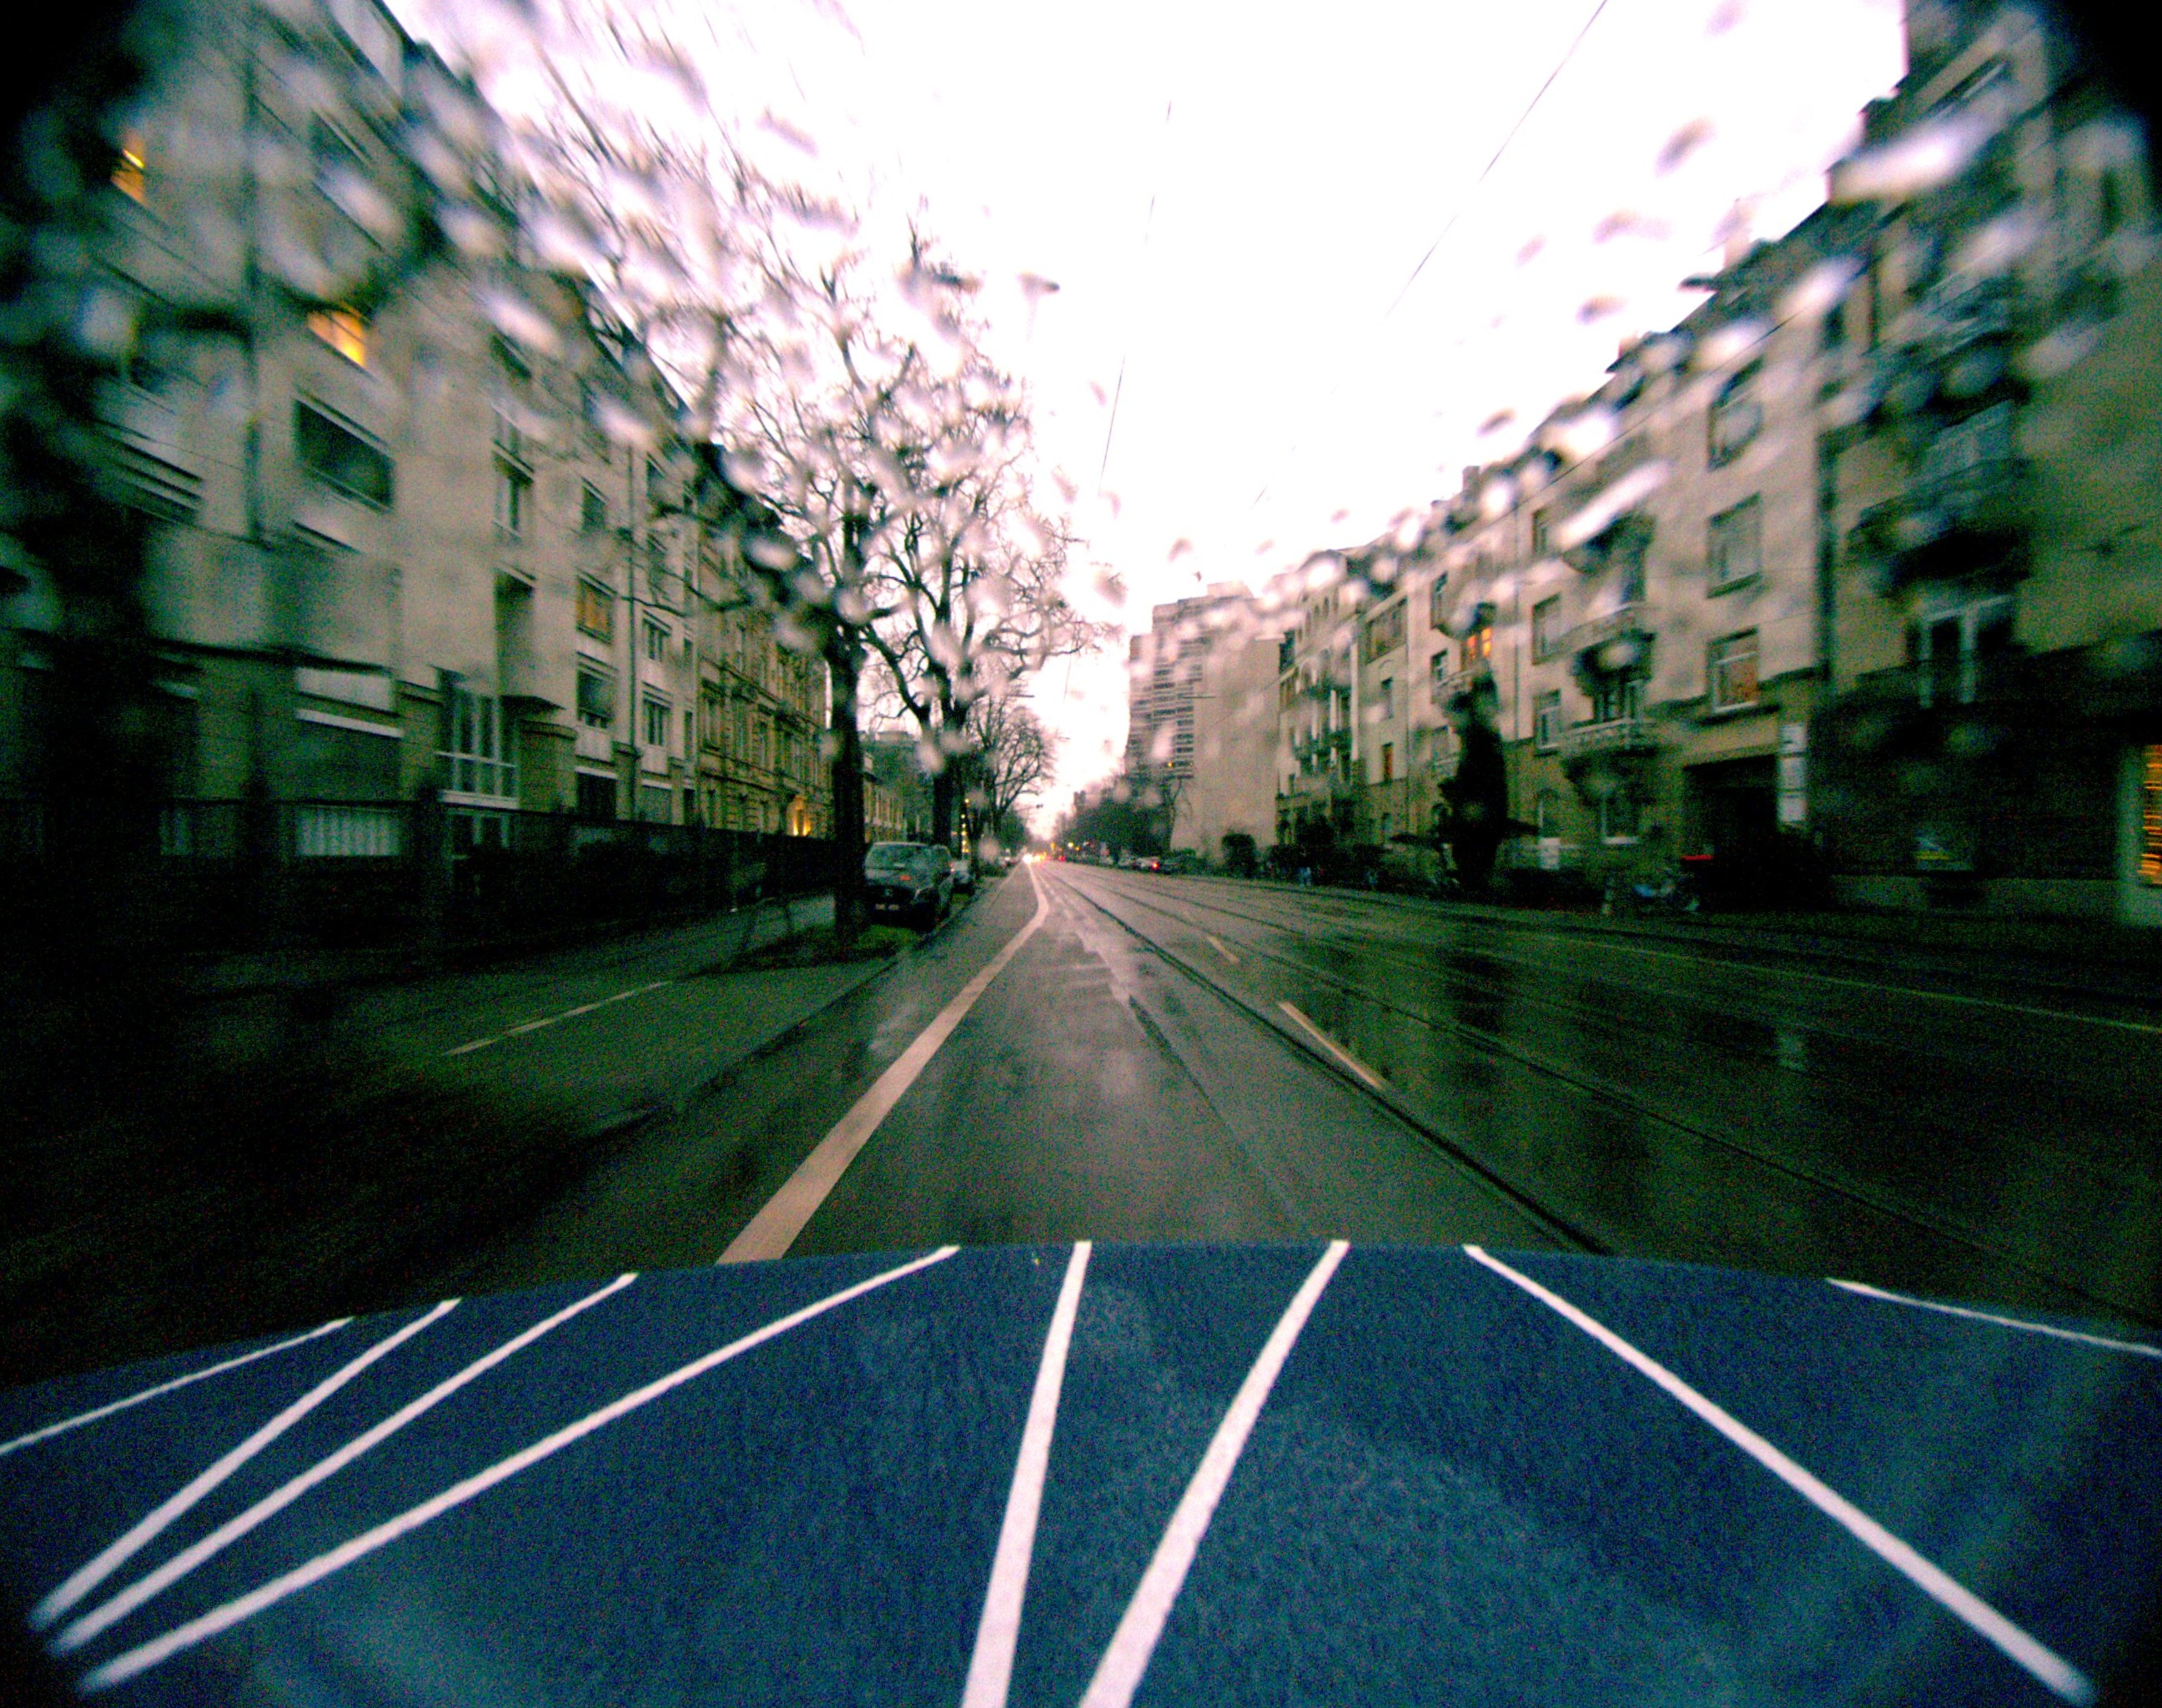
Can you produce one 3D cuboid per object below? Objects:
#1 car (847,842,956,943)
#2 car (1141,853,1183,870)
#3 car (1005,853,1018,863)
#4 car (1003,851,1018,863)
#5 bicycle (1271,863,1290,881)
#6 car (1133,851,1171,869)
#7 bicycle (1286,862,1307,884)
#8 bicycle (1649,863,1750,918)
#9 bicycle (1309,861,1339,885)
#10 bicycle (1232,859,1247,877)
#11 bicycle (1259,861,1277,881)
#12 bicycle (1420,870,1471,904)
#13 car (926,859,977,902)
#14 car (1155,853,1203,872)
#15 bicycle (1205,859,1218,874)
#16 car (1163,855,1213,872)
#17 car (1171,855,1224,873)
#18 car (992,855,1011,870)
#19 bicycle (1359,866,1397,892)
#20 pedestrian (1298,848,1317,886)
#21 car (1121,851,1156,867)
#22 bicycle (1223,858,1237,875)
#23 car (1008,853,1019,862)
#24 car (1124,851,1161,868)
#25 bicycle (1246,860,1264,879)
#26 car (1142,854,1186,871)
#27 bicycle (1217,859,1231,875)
[{"bbox_3d":[-4.001,0.768,17.616,1.727,1.934,4.506,-3,1,-5],"label":"car"},{"bbox_3d":[8.046,0.735,75.723,3.841,1.405,1.726,-3,1,-3],"label":"car"},{"bbox_3d":[-10.930,0.636,119.247,1.727,1.405,3.840,-3,1,-7],"label":"car"},{"bbox_3d":[-8.989,0.412,96.509,1.727,1.405,3.840,-3,1,-7],"label":"car"},{"bbox_3d":[10.223,0.908,38.978,0.442,0.827,1.767,-3,1,-2],"label":"bicycle"},{"bbox_3d":[7.621,0.627,82.110,3.841,1.707,1.727,-3,0,-3],"label":"car"},{"bbox_3d":[10.518,0.909,37.175,0.435,1.001,1.712,-3,1,-2],"label":"bicycle"},{"bbox_3d":[14.503,0.842,17.823,1.990,1.152,0.531,-3,1,-5],"label":"bicycle"},{"bbox_3d":[10.795,0.832,33.829,0.524,1.001,2.208,-3,1,-2],"label":"bicycle"},{"bbox_3d":[9.684,0.838,46.440,0.435,1.001,1.880,-3,1,-2],"label":"bicycle"},{"bbox_3d":[10.010,0.889,40.720,0.435,1.001,1.604,-3,1,-2],"label":"bicycle"},{"bbox_3d":[11.299,1.009,23.629,0.531,0.934,2.085,-3,1,0],"label":"bicycle"},{"bbox_3d":[-4.908,0.973,29.217,1.727,1.405,3.840,-3,1,-7],"label":"car"},{"bbox_3d":[8.414,0.701,65.417,3.841,1.405,1.726,-3,1,-3],"label":"car"},{"bbox_3d":[9.159,0.851,53.371,0.469,1.001,1.880,-3,1,-2],"label":"bicycle"},{"bbox_3d":[8.798,0.764,62.630,3.841,1.405,1.727,0,0,-3],"label":"car"},{"bbox_3d":[9.166,0.784,59.976,3.841,1.405,1.726,-1,0,-3],"label":"car"},{"bbox_3d":[-8.100,0.836,77.261,1.727,1.405,3.840,-3,1,-7],"label":"car"},{"bbox_3d":[11.067,0.916,28.425,0.531,0.884,2.209,-3,1,0],"label":"bicycle"},{"bbox_3d":[9.943,0.550,33.377,0.574,1.633,0.448,-3,1,-7],"label":"pedestrian"},{"bbox_3d":[6.706,0.560,88.837,3.841,1.707,1.726,-3,1,-3],"label":"car"},{"bbox_3d":[9.492,0.808,48.440,0.435,1.001,1.880,-3,1,-2],"label":"bicycle"},{"bbox_3d":[-11.833,0.545,132.661,1.727,1.405,3.840,-3,1,-7],"label":"car"},{"bbox_3d":[6.798,0.609,84.881,3.841,1.707,1.726,-3,1,-3],"label":"car"},{"bbox_3d":[9.845,0.883,43.024,0.435,1.001,1.880,-3,1,-2],"label":"bicycle"},{"bbox_3d":[7.753,0.759,71.206,3.841,1.405,1.727,-3,0,-3],"label":"car"},{"bbox_3d":[9.486,0.829,50.503,0.435,1.001,1.880,-3,1,-2],"label":"bicycle"}]
